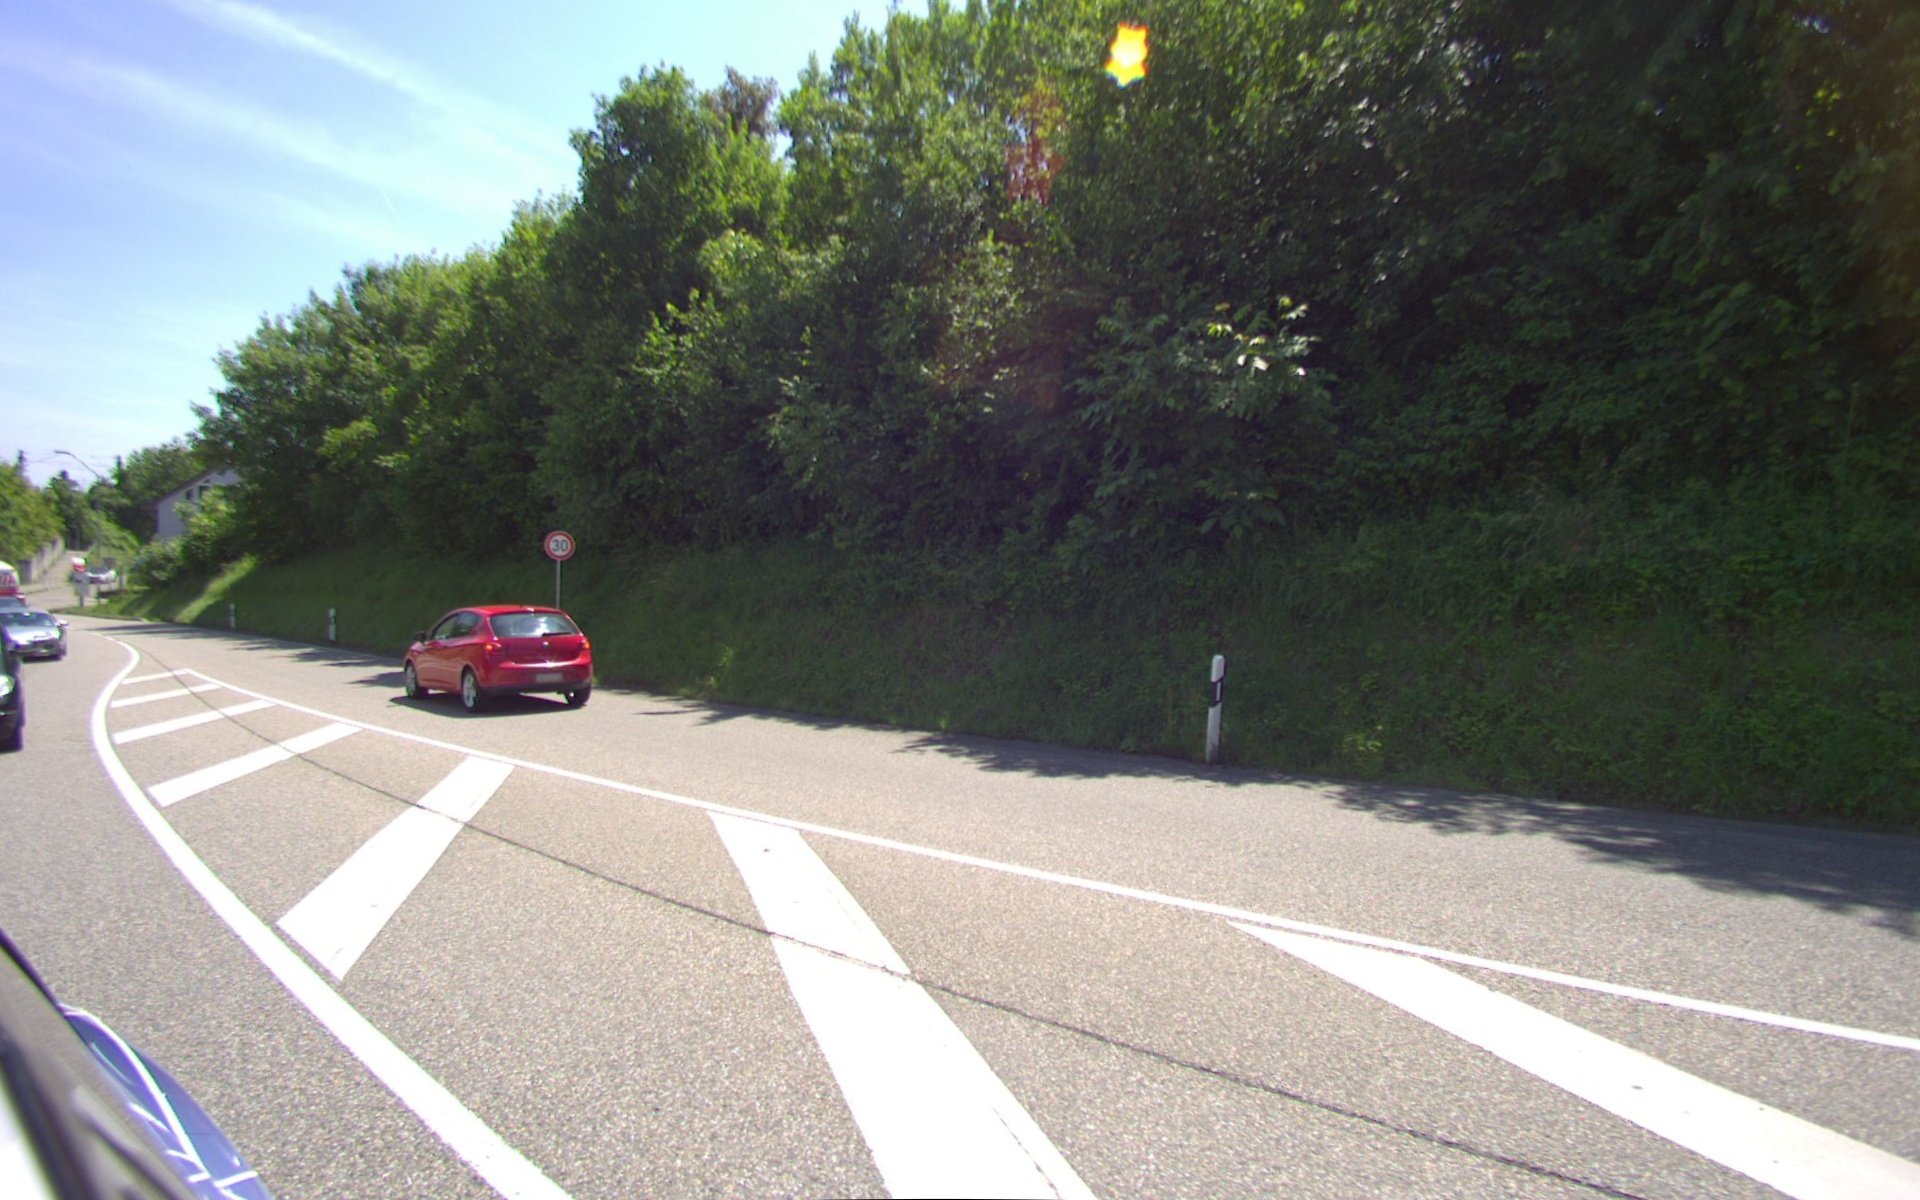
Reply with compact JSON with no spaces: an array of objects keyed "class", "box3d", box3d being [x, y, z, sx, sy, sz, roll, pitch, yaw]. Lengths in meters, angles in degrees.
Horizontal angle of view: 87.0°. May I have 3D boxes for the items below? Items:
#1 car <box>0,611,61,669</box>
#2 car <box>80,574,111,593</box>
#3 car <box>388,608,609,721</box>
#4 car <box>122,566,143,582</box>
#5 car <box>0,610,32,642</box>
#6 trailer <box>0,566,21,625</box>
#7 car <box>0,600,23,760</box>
[{"class":"car","box3d":[-23.196,0.956,24.858,1.623,1.332,3.442,2,-2,-42]},{"class":"car","box3d":[-81.294,-1.560,95.182,1.968,1.517,4.010,-3,6,-37]},{"class":"car","box3d":[-6.979,0.857,15.120,1.730,1.459,4.002,1,-1,-45]},{"class":"car","box3d":[-89.724,-2.834,109.715,1.723,1.399,4.008,-3,6,-39]},{"class":"car","box3d":[-43.050,1.153,45.432,4.146,1.298,1.731,1,2,43]},{"class":"trailer","box3d":[-60.860,-0.264,60.086,11.055,3.398,2.625,0,1,19]},{"class":"car","box3d":[-11.404,0.811,10.942,1.769,1.591,3.804,1,-2,-42]}]
